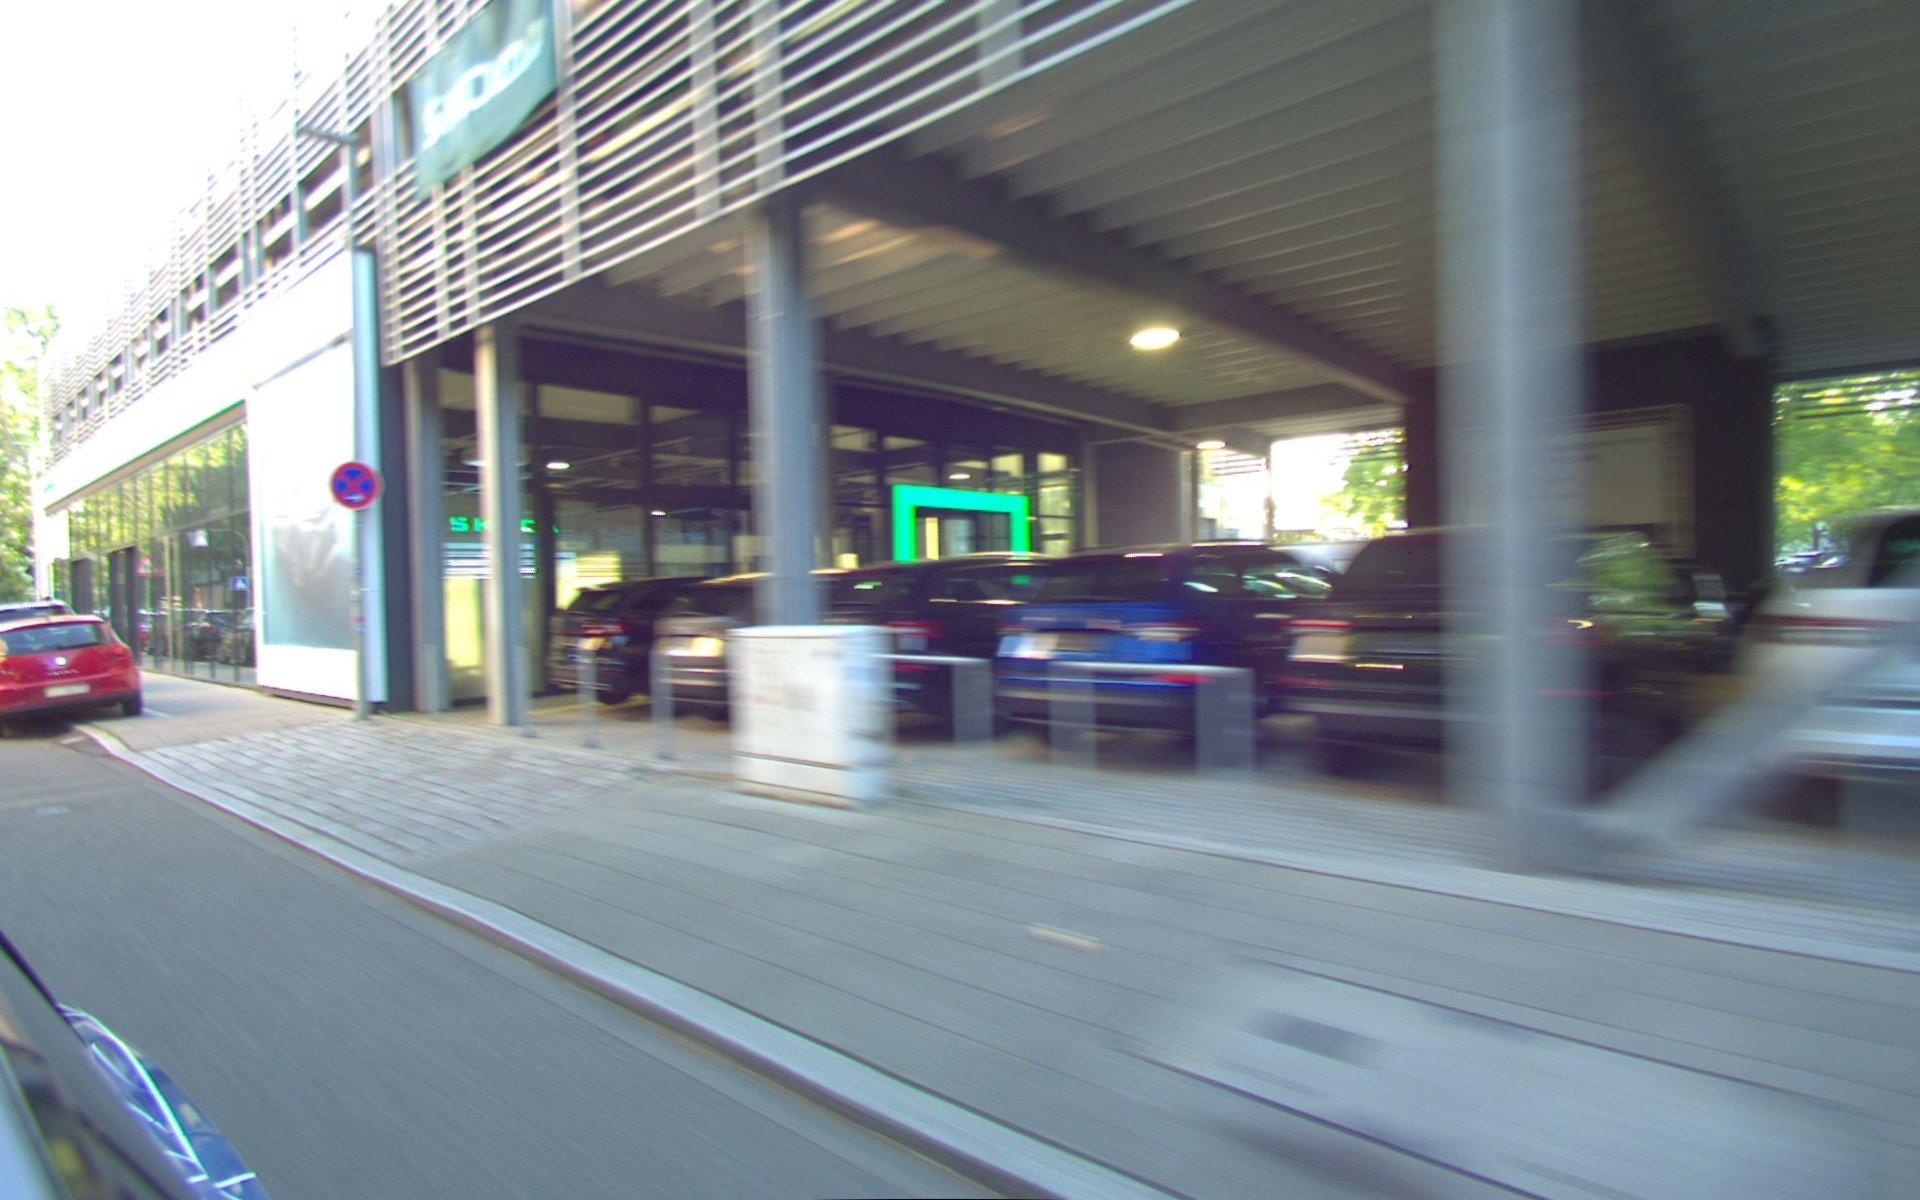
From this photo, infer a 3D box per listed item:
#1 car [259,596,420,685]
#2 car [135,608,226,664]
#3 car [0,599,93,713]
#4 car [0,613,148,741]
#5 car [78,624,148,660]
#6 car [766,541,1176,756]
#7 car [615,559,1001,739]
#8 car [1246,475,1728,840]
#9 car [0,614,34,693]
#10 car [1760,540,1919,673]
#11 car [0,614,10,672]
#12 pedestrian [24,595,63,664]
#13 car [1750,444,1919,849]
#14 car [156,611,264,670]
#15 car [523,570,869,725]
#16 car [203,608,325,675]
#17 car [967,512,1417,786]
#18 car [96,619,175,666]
[{"bbox_3d":[-13.195,0.814,21.415,4.408,1.671,1.680,-2,0,42],"label":"car"},{"bbox_3d":[-25.161,1.138,32.626,3.875,1.662,1.576,-2,0,41],"label":"car"},{"bbox_3d":[-16.551,0.942,17.568,4.401,1.769,1.680,-2,0,42],"label":"car"},{"bbox_3d":[-12.720,0.987,14.002,3.789,1.517,1.680,-2,0,42],"label":"car"},{"bbox_3d":[-33.745,1.647,40.304,3.449,1.303,1.576,-2,0,41],"label":"car"},{"bbox_3d":[0.275,0.360,10.080,1.860,1.696,3.992,-2,0,42],"label":"car"},{"bbox_3d":[-1.585,0.437,11.687,1.860,1.696,4.121,-2,0,42],"label":"car"},{"bbox_3d":[3.782,0.244,6.861,1.860,1.696,4.105,-2,0,42],"label":"car"},{"bbox_3d":[-21.570,1.185,21.913,4.205,1.609,1.916,-2,0,43],"label":"car"},{"bbox_3d":[11.954,0.037,13.350,1.860,1.499,4.290,-2,0,42],"label":"car"},{"bbox_3d":[-25.433,1.194,25.447,4.004,1.412,1.712,-2,5,41],"label":"car"},{"bbox_3d":[-25.650,0.825,28.319,0.620,1.892,0.713,-2,0,43],"label":"pedestrian"},{"bbox_3d":[5.640,0.137,5.435,1.860,1.696,3.982,-2,0,42],"label":"car"},{"bbox_3d":[-21.727,1.139,29.255,4.190,1.526,1.680,-2,0,42],"label":"car"},{"bbox_3d":[-3.323,0.510,13.299,1.860,1.696,3.999,-2,0,42],"label":"car"},{"bbox_3d":[-17.870,1.038,25.931,3.992,1.526,1.679,-2,0,42],"label":"car"},{"bbox_3d":[2.104,0.283,8.374,1.860,1.696,3.992,-2,0,42],"label":"car"},{"bbox_3d":[-29.876,1.513,36.637,3.875,1.534,1.576,-2,0,41],"label":"car"}]
